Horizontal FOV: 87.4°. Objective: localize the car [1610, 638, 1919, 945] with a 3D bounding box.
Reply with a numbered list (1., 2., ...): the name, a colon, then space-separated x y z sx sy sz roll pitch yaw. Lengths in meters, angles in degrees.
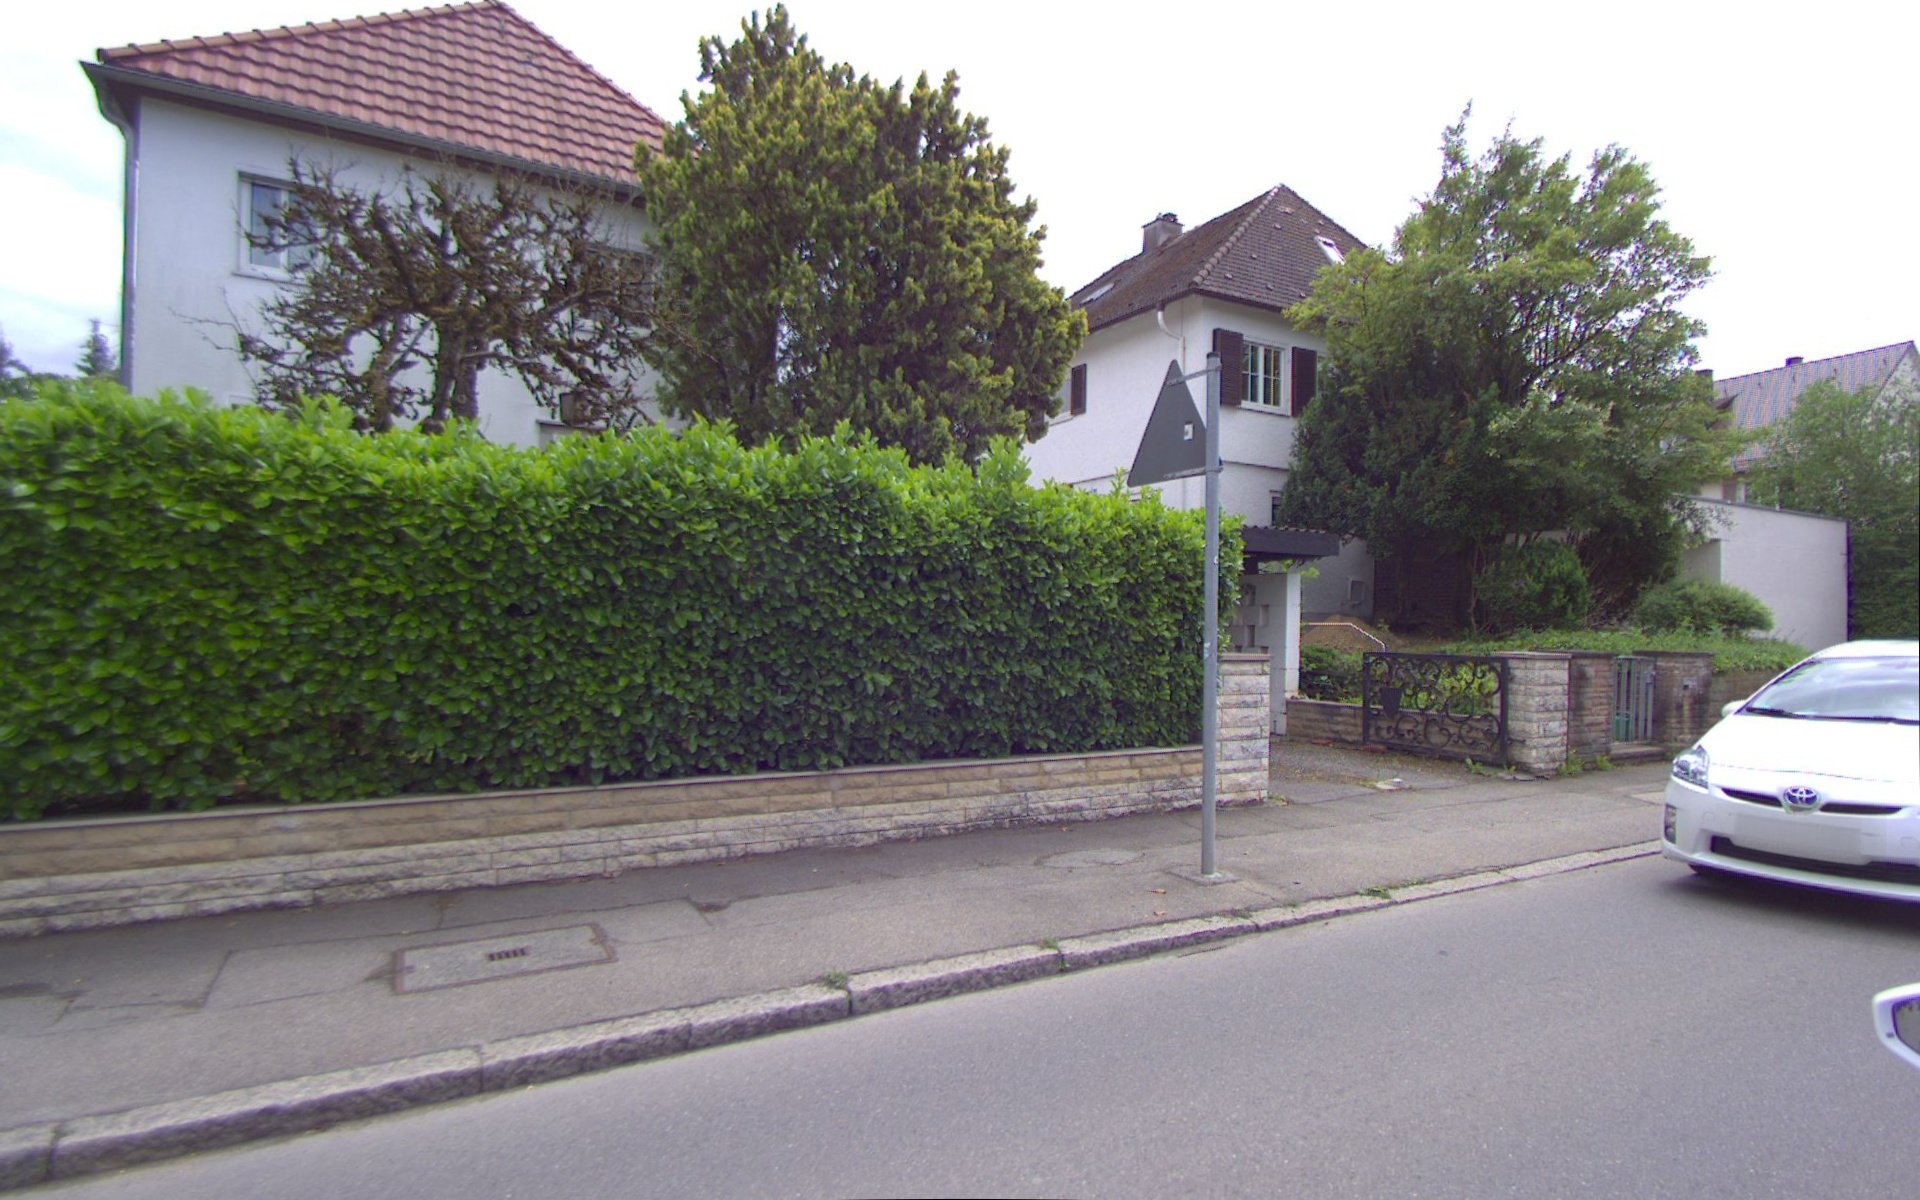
1. car: 6.192 0.985 6.326 4.232 1.470 1.846 1 -3 -31
